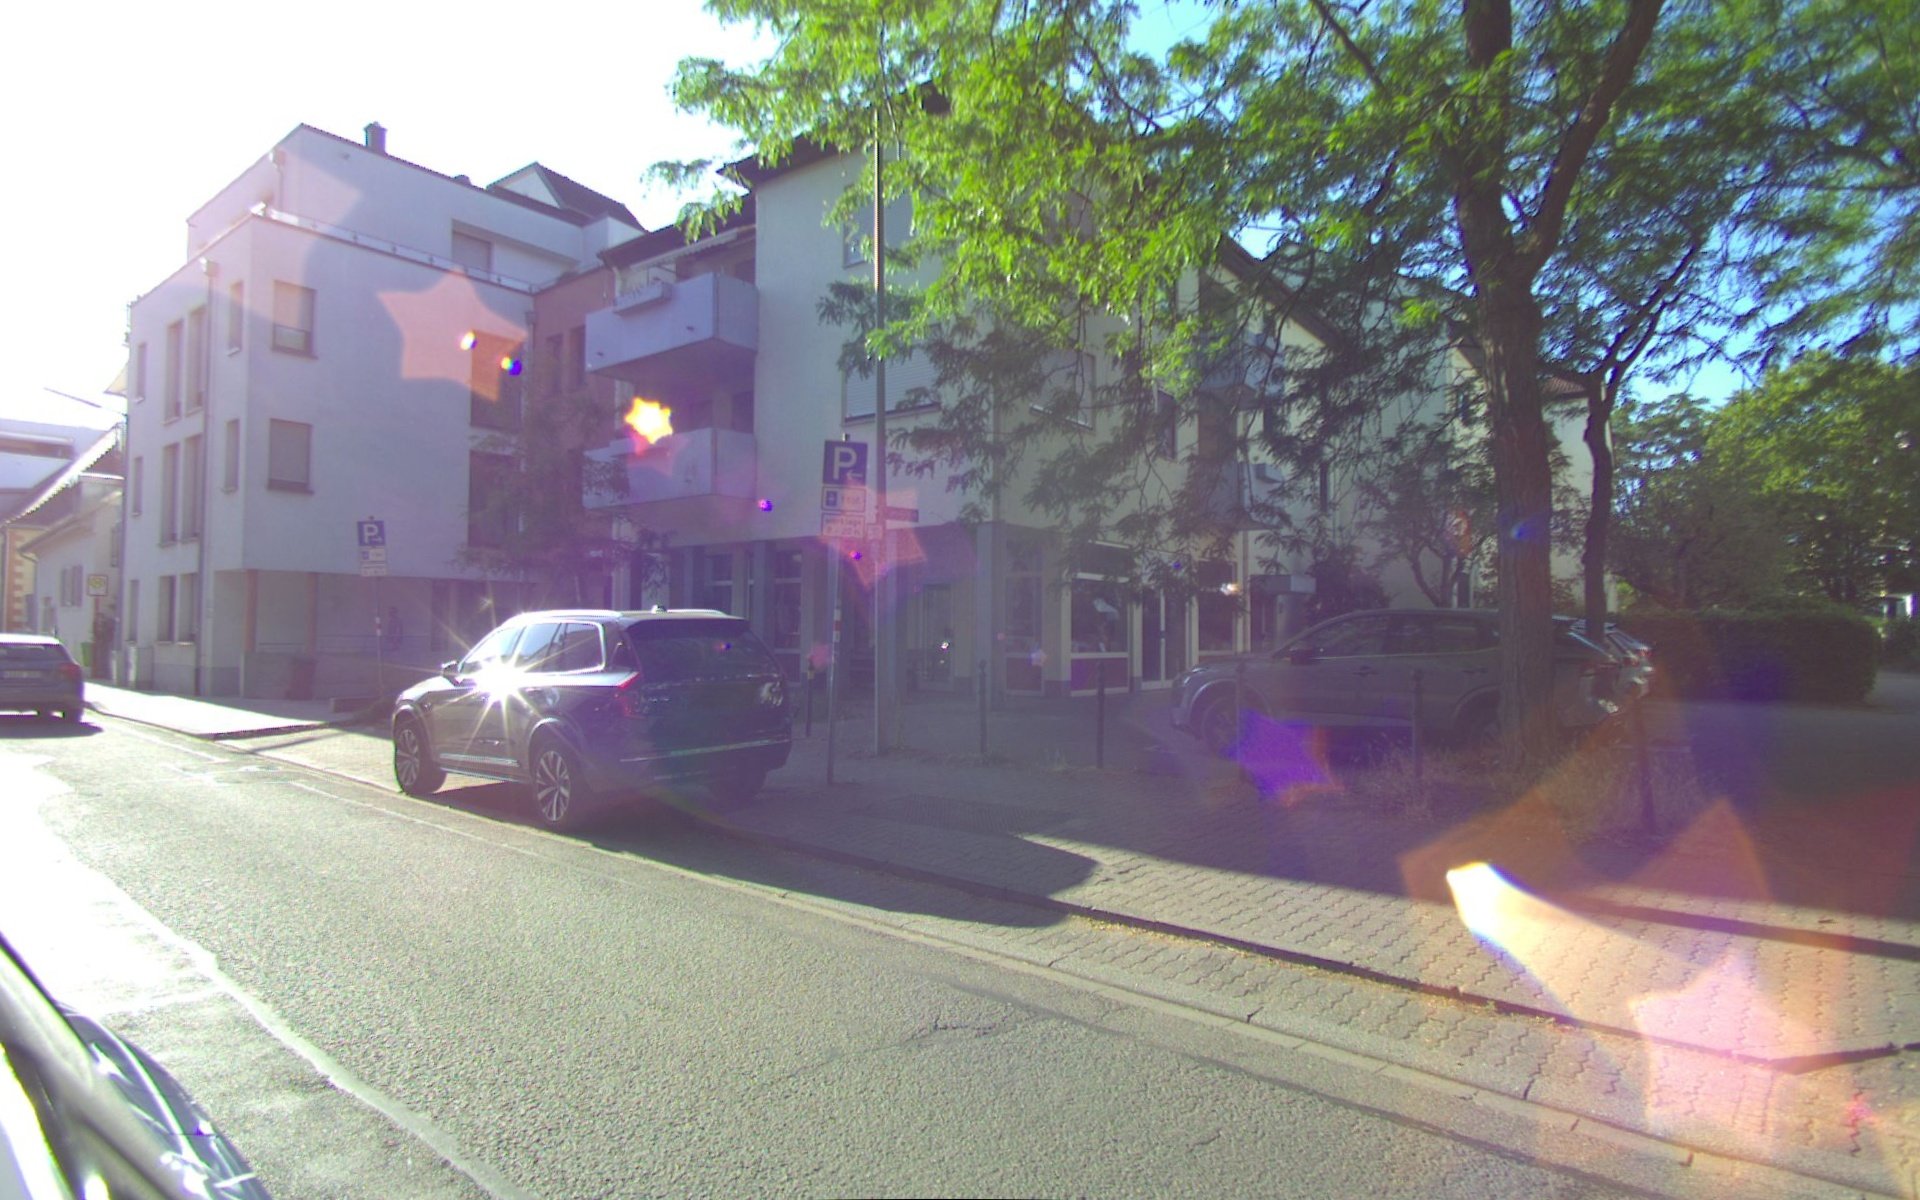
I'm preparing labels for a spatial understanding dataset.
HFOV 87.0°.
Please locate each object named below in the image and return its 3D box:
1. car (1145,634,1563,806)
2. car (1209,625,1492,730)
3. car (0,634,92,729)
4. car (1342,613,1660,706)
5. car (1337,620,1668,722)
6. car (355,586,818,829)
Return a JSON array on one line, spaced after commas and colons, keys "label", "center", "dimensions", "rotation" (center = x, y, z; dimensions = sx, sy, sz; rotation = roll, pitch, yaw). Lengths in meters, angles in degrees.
[{"label": "car", "center": [3.824, 1.059, 10.217], "dimensions": [3.639, 1.419, 1.504], "rotation": [-2, -3, 43]}, {"label": "car", "center": [6.037, 1.129, 15.907], "dimensions": [3.813, 1.451, 1.667], "rotation": [-2, -3, 43]}, {"label": "car", "center": [-16.492, 1.321, 17.291], "dimensions": [3.995, 1.478, 1.789], "rotation": [-1, -3, 39]}, {"label": "car", "center": [10.376, 1.146, 19.712], "dimensions": [5.184, 1.572, 1.918], "rotation": [-2, -6, 41]}, {"label": "car", "center": [9.368, 1.143, 17.691], "dimensions": [4.826, 1.486, 1.974], "rotation": [-1, 0, 39]}, {"label": "car", "center": [-3.776, 0.813, 9.647], "dimensions": [5.098, 1.718, 1.912], "rotation": [-2, 0, 41]}]
